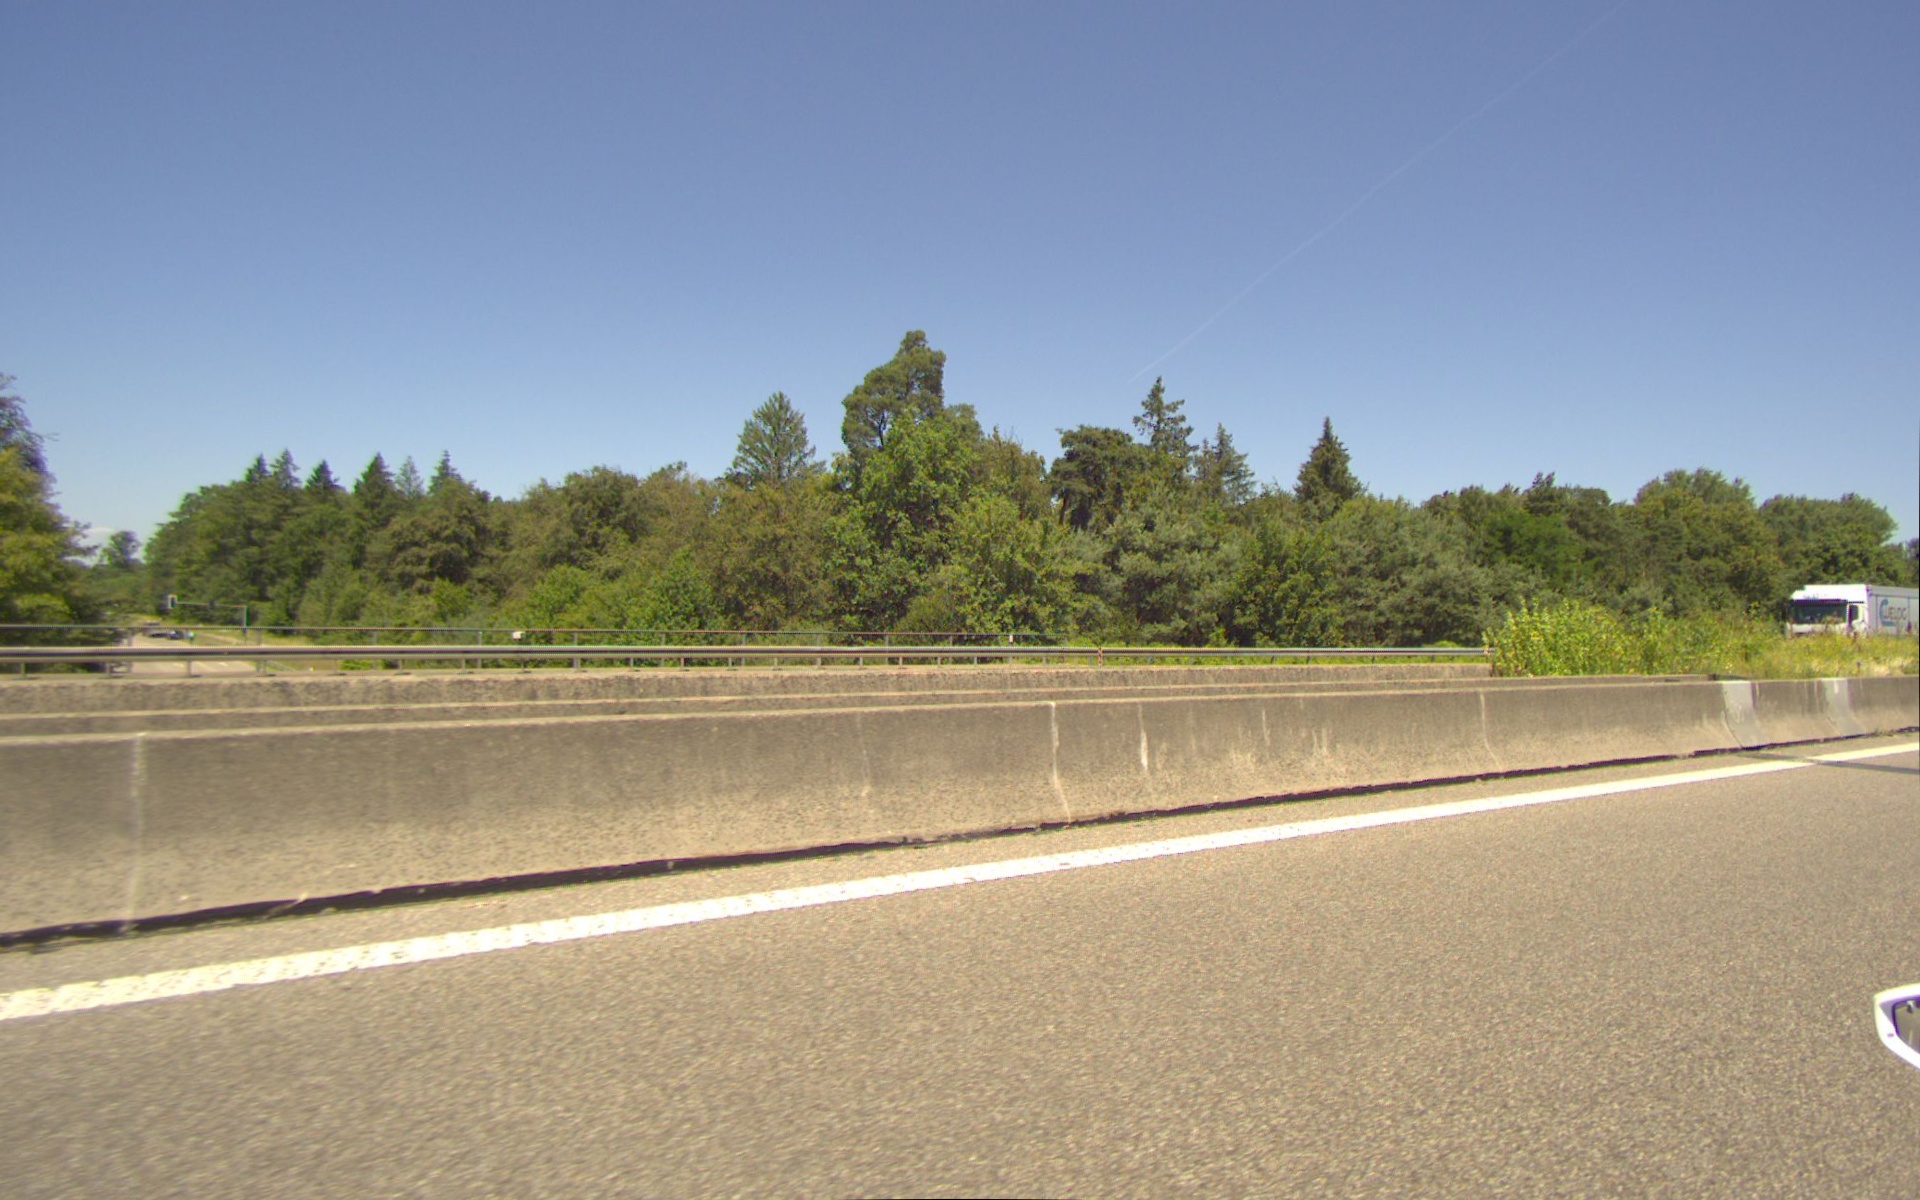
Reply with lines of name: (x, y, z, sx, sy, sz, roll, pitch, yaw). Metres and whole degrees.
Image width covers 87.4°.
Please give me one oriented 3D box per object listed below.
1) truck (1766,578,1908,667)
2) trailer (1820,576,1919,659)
truck: (43.628, 1.130, 49.898, 8.097, 4.130, 2.970, 1, -1, -31)
trailer: (50.578, 0.989, 54.042, 11.637, 4.130, 2.970, 1, -1, -31)
